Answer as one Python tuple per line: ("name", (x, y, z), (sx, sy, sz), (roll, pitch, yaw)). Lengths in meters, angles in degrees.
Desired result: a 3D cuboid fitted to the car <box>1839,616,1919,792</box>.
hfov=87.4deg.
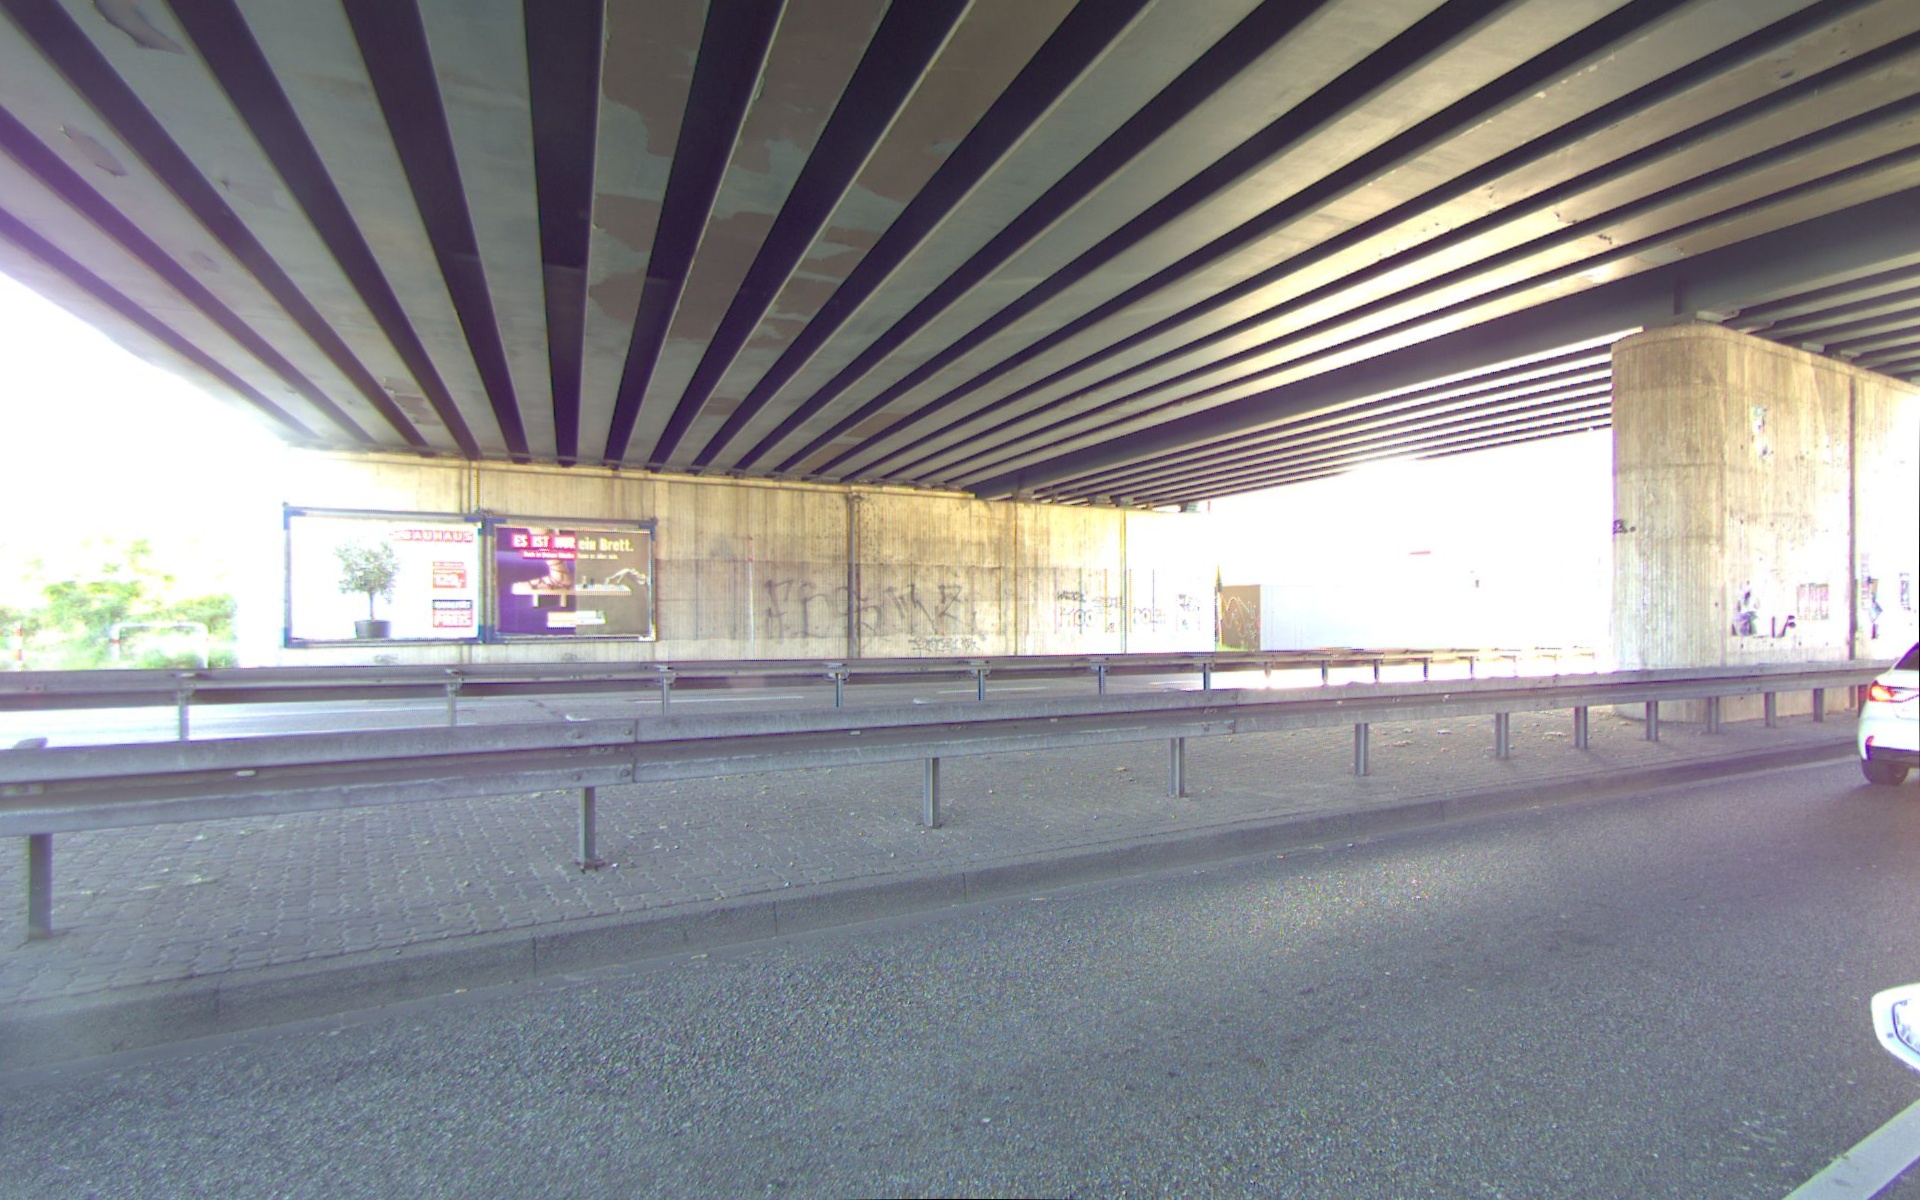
("car", (9.627, 0.892, 8.891), (3.769, 1.429, 1.684), (1, 0, -31))
